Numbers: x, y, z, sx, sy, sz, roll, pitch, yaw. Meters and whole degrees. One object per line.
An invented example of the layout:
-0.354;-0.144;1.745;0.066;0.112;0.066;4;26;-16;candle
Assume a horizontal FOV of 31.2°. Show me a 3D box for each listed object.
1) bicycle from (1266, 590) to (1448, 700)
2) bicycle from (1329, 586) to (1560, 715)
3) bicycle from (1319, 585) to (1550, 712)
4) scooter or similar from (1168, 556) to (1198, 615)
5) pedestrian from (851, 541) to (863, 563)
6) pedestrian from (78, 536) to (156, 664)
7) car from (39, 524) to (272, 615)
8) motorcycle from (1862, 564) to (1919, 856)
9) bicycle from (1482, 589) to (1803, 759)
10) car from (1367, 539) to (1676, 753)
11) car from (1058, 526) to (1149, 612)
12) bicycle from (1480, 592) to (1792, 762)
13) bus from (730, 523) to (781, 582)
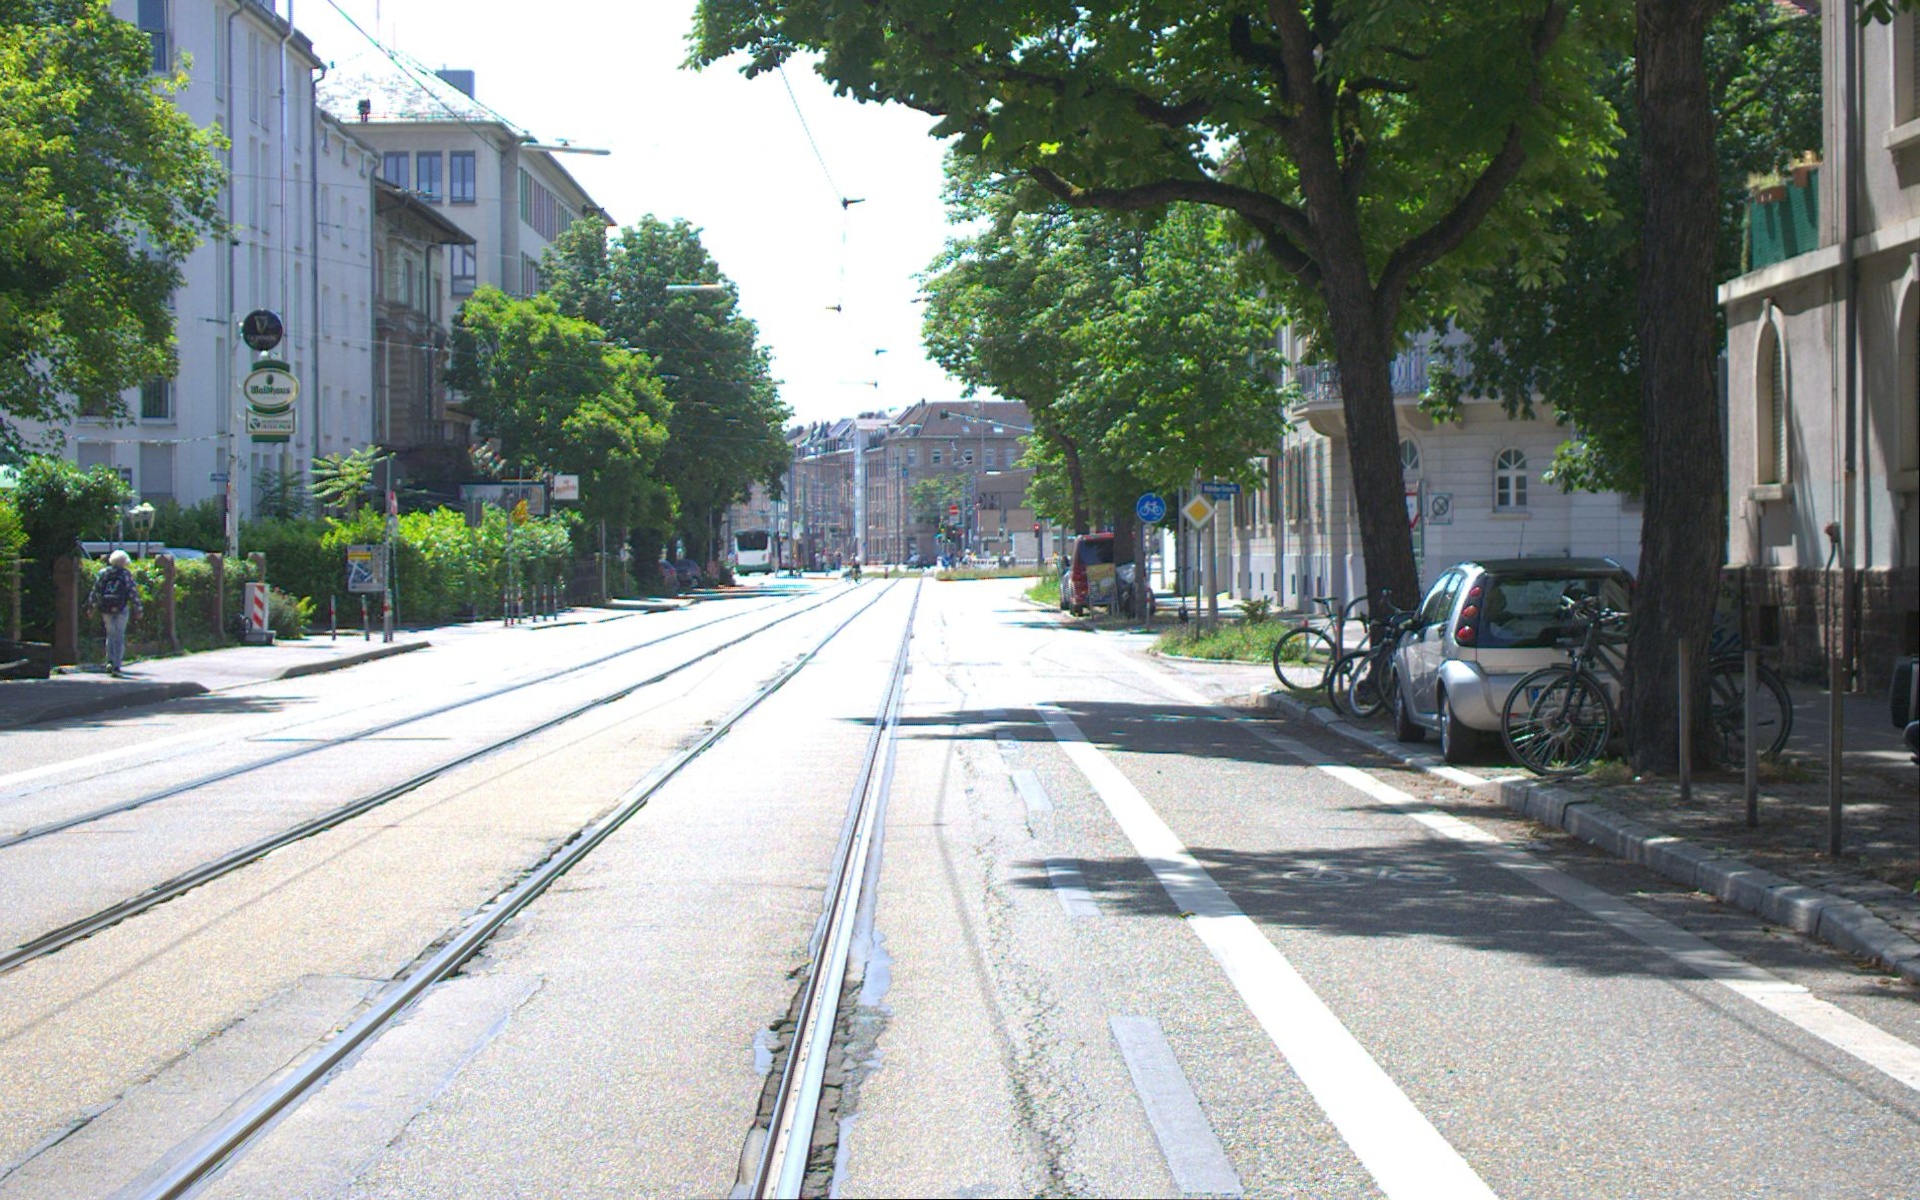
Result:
4.129;0.466;35.853;1.816;1.109;0.493;-1;0;-1;bicycle
4.309;0.450;30.666;1.963;1.109;0.598;-1;0;2;bicycle
4.307;0.442;31.295;2.010;1.109;0.640;-1;0;2;bicycle
4.703;-0.315;72.634;0.501;1.225;1.573;0;1;-1;scooter or similar
-5.658;-2.628;188.897;0.491;1.169;0.590;-1;1;-24;pedestrian
-10.841;-0.010;44.217;0.751;1.623;0.833;1;1;3;pedestrian
-17.343;-0.660;74.165;4.484;1.897;1.998;1;1;17;car
4.952;0.482;16.545;0.997;1.295;2.377;0;1;10;motorcycle
4.328;0.460;21.906;1.963;1.059;0.598;0;0;7;bicycle
4.193;0.313;26.190;1.621;1.443;3.810;-3;0;-1;car
3.517;-0.797;84.881;1.993;2.028;4.697;0;1;-1;car
4.234;0.476;21.629;1.890;1.048;0.538;0;0;7;bicycle
-14.427;-3.319;242.958;2.931;3.923;11.275;2;0;-1;bus
